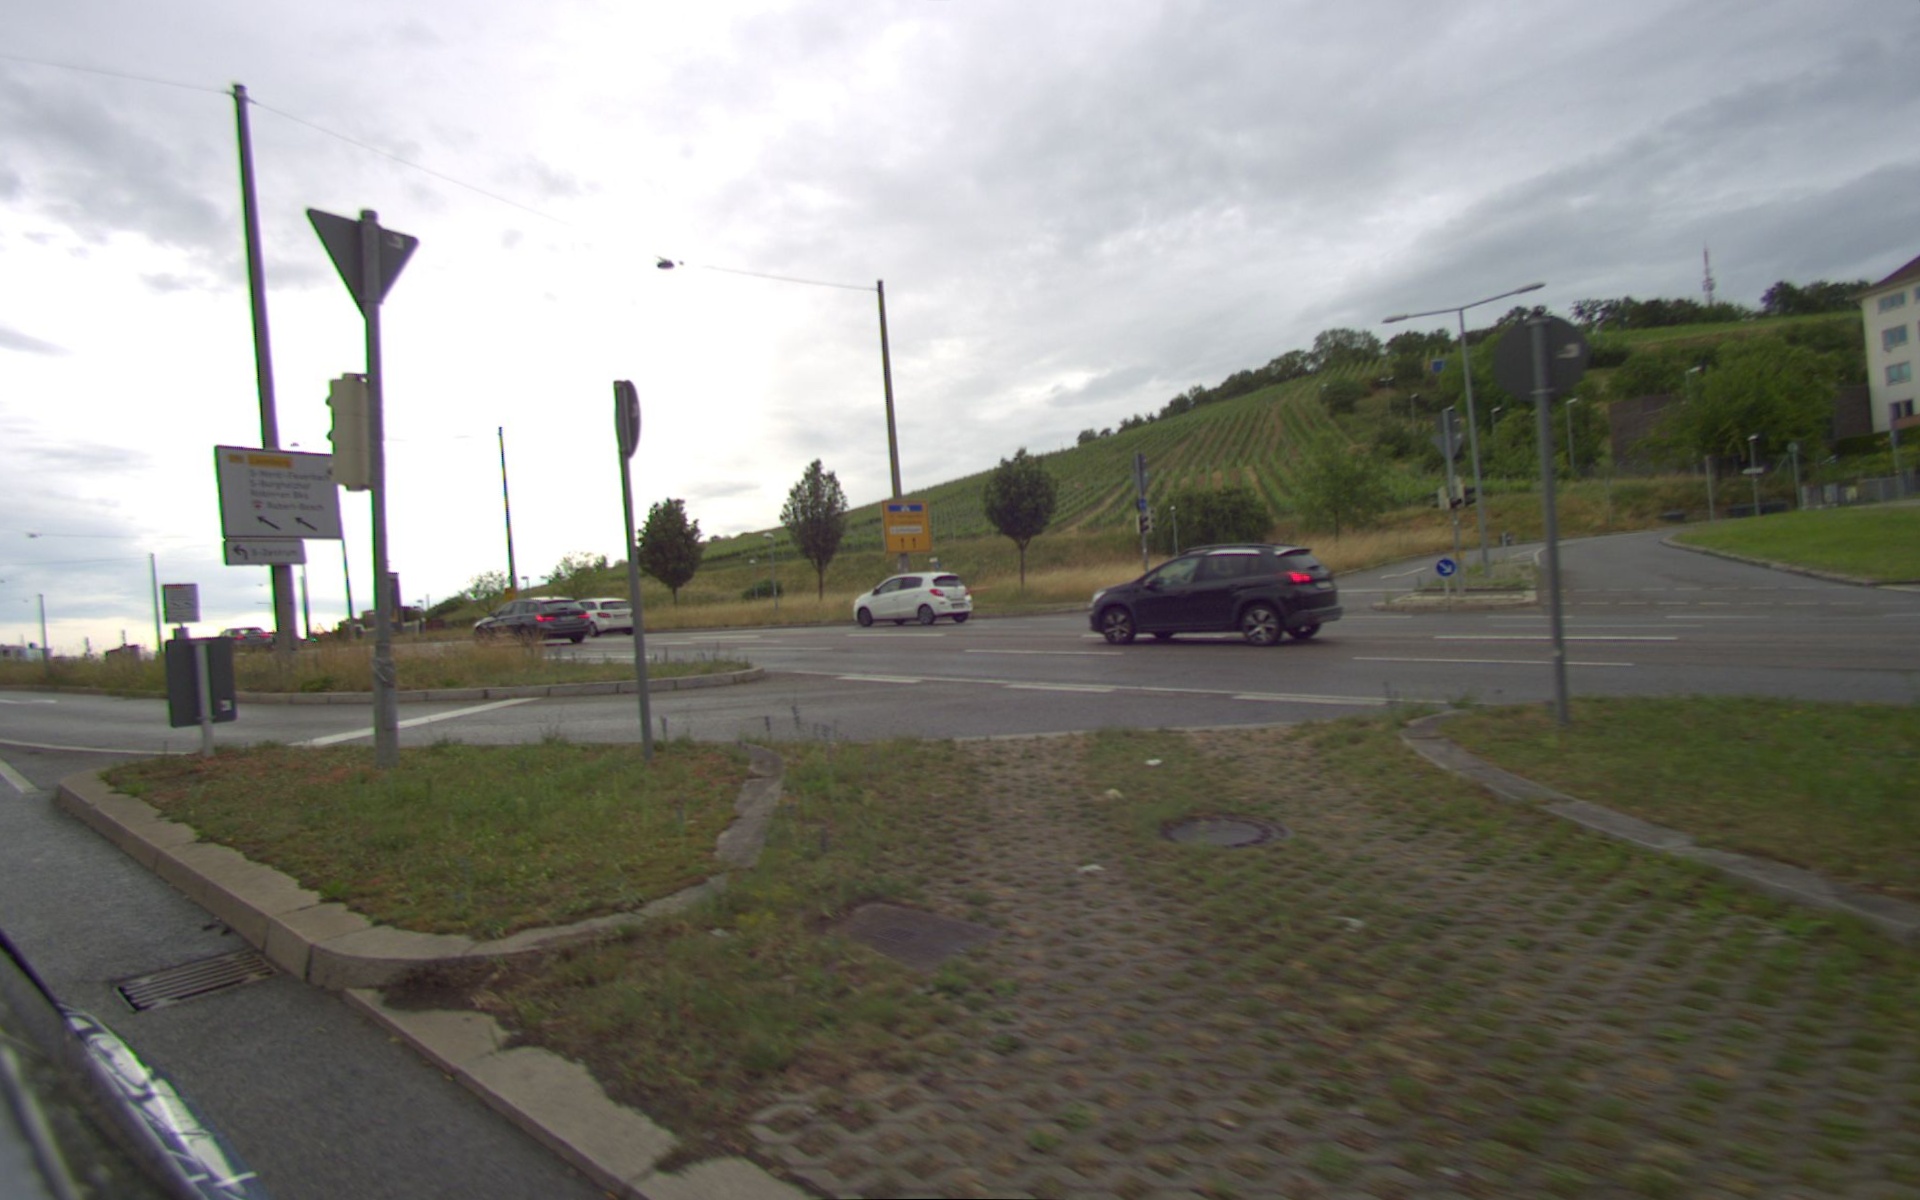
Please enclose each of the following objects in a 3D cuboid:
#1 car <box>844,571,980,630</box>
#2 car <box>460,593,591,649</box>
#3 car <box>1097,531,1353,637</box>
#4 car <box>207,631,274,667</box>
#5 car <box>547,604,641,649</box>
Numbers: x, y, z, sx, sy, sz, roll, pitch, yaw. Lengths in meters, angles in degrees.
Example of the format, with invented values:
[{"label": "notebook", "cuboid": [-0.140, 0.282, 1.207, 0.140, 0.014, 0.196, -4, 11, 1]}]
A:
[{"label": "car", "cuboid": [-1.423, 0.033, 29.184, 3.772, 1.473, 1.634, -3, 1, 41]}, {"label": "car", "cuboid": [-13.190, 0.634, 30.620, 4.459, 1.515, 1.734, -2, 2, 39]}, {"label": "car", "cuboid": [4.183, -0.241, 16.256, 3.659, 1.515, 1.523, -1, 2, 40]}, {"label": "car", "cuboid": [-35.704, 2.431, 50.207, 3.998, 1.529, 1.749, -5, 0, 41]}, {"label": "car", "cuboid": [-14.947, 1.040, 41.214, 4.176, 1.660, 1.749, -1, 2, 41]}]
